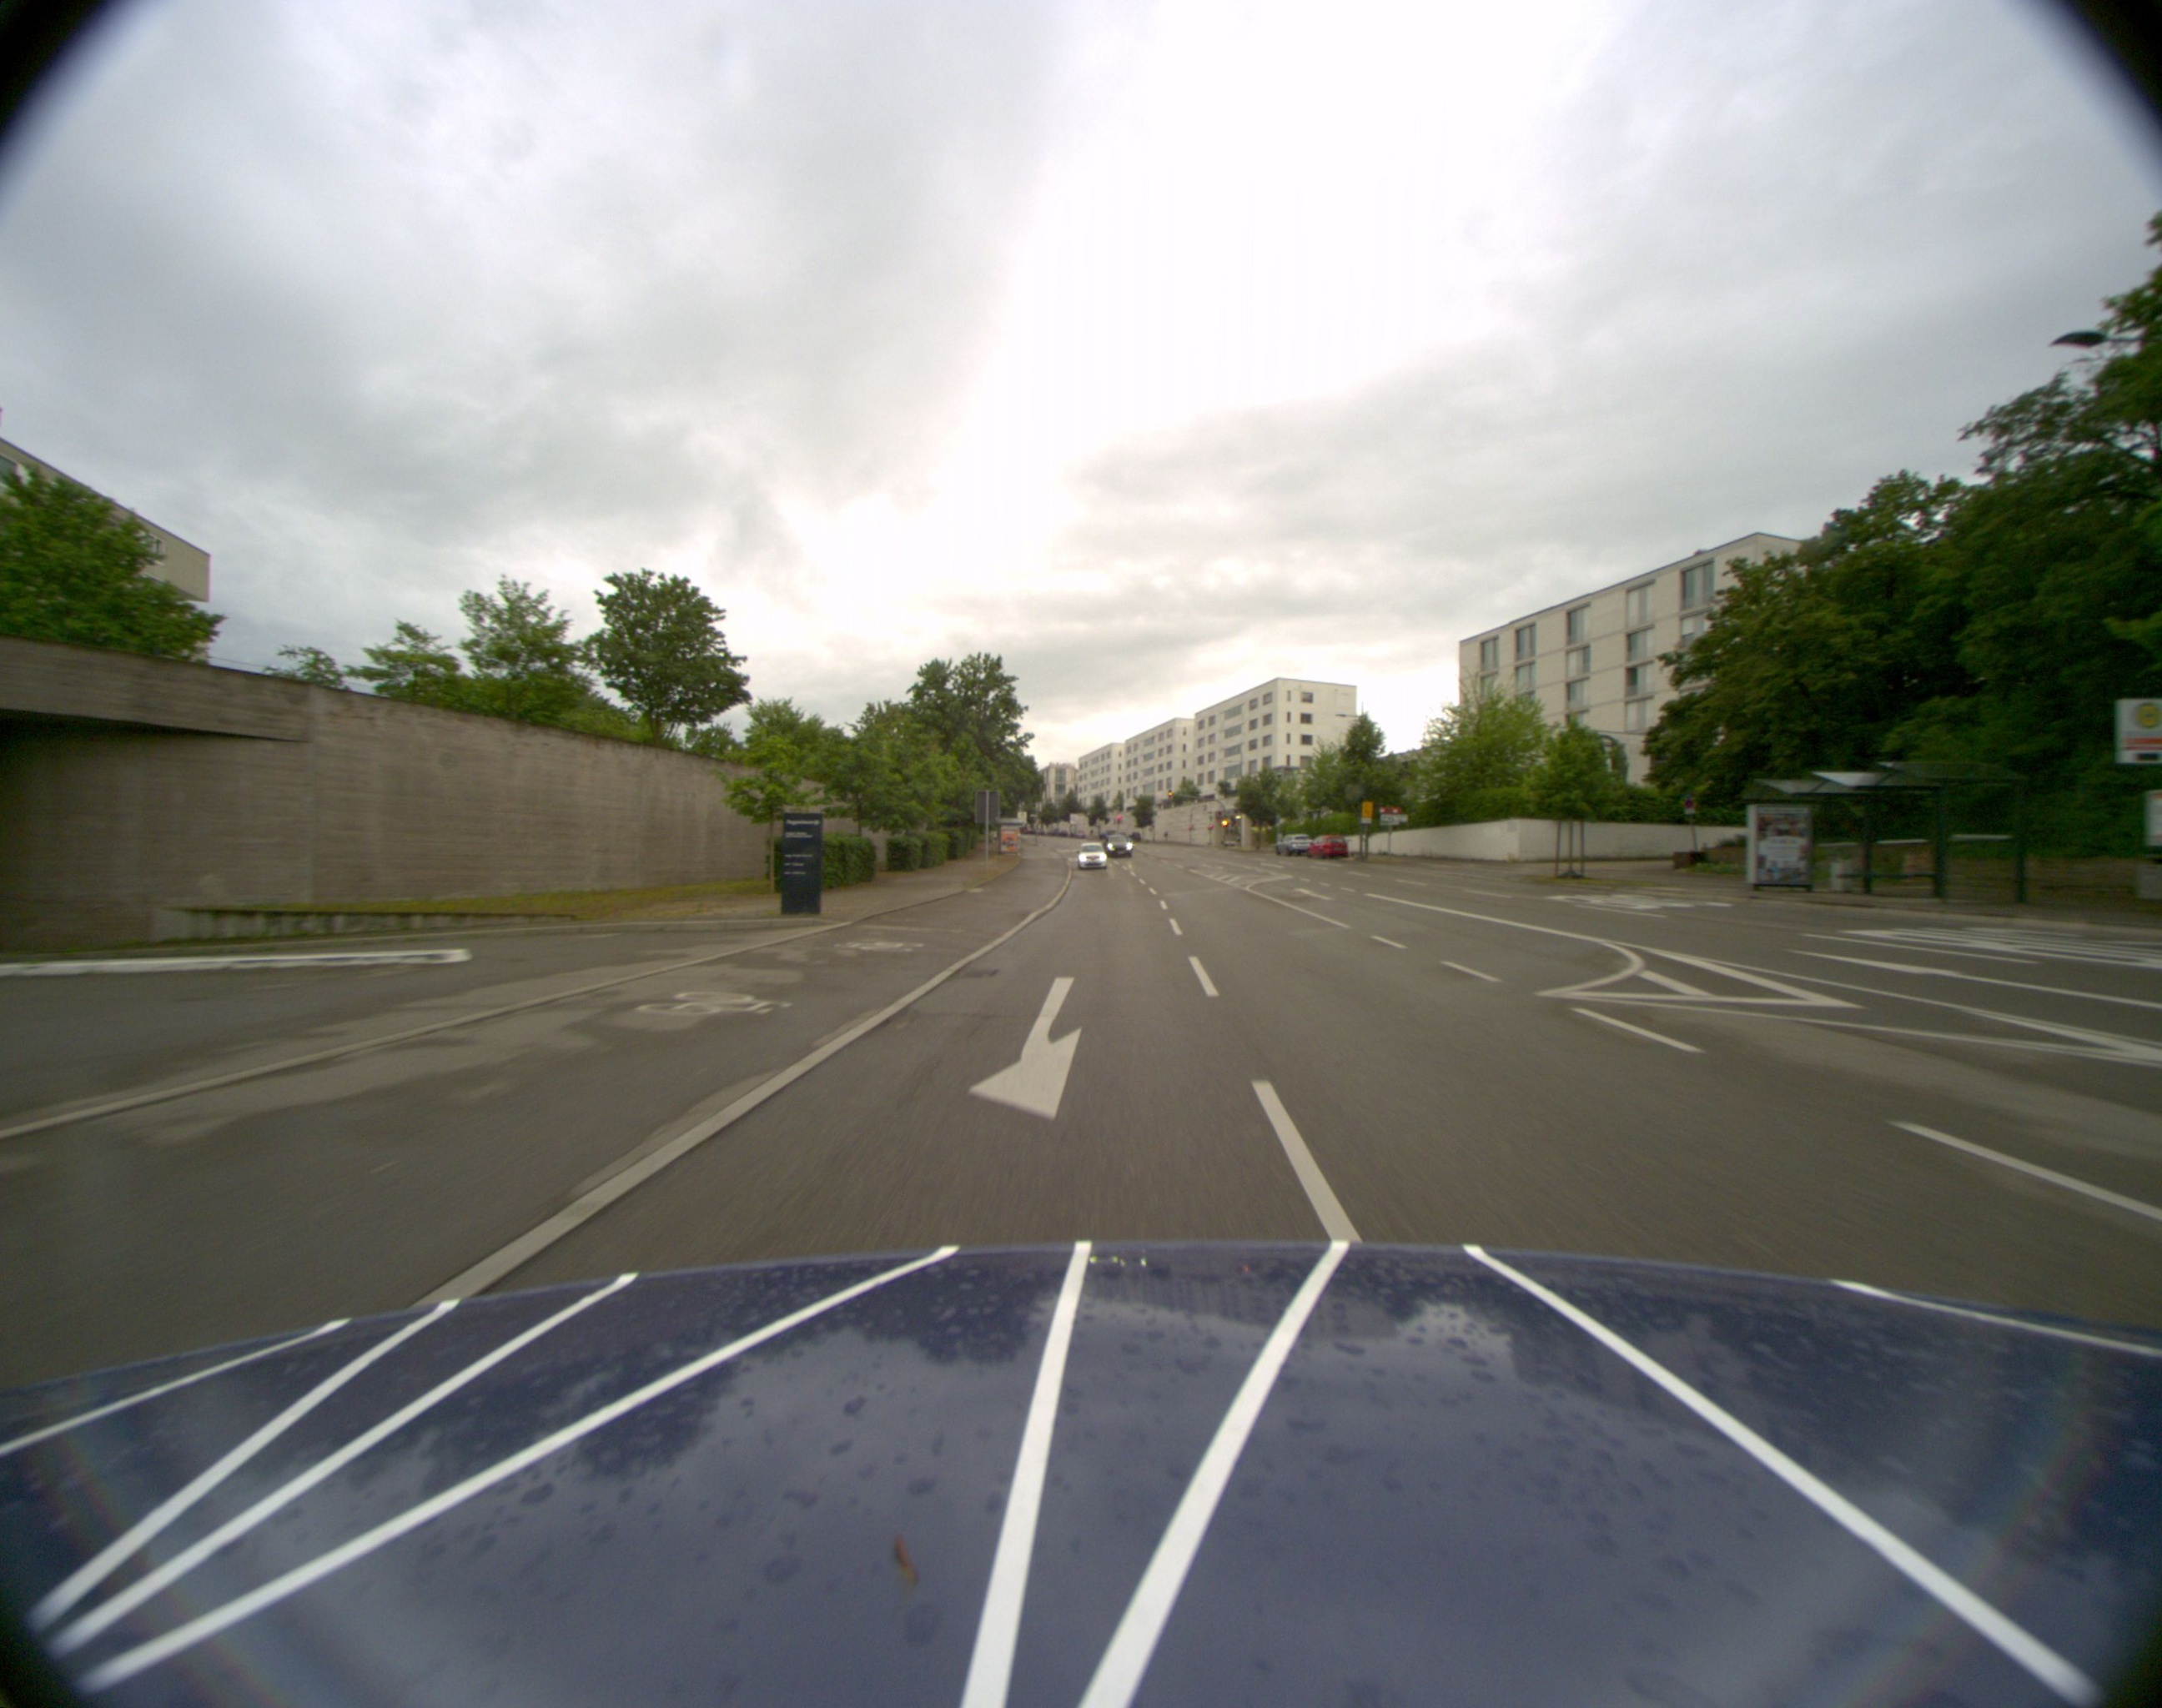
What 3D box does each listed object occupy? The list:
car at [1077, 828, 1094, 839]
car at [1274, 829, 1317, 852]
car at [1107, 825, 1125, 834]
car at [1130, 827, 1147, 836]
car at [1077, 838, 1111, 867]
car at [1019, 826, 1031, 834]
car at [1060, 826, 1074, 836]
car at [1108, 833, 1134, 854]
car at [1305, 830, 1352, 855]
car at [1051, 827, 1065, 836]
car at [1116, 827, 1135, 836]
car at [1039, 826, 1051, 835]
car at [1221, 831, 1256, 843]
[{"bbox_3d":[0.823,-3.926,143.097,1.926,2.002,4.379,-1,1,-16],"label":"car"},{"bbox_3d":[16.454,-1.102,58.533,1.768,1.644,4.881,-1,2,-1],"label":"car"},{"bbox_3d":[6.114,-4.301,132.833,1.792,1.623,3.992,0,2,-19],"label":"car"},{"bbox_3d":[9.277,-3.623,122.683,1.683,1.451,2.690,0,2,-19],"label":"car"},{"bbox_3d":[0.818,-0.077,46.139,1.927,1.652,4.001,0,0,2],"label":"car"},{"bbox_3d":[-13.766,-5.986,186.736,1.967,1.829,4.441,0,2,-15],"label":"car"},{"bbox_3d":[-3.069,-4.849,161.390,1.926,2.002,4.379,-1,1,-16],"label":"car"},{"bbox_3d":[3.156,-0.806,59.967,1.829,1.584,3.999,-1,1,1],"label":"car"},{"bbox_3d":[16.711,-0.812,51.486,1.669,1.578,4.214,0,2,-1],"label":"car"},{"bbox_3d":[-5.117,-4.941,167.958,1.926,2.002,4.379,-1,1,-16],"label":"car"},{"bbox_3d":[7.499,-3.858,128.568,1.865,1.470,3.992,0,2,-19],"label":"car"},{"bbox_3d":[-8.693,-5.612,181.074,1.926,2.002,4.379,-1,1,-16],"label":"car"},{"bbox_3d":[22.194,-2.409,106.972,4.350,1.643,1.996,0,3,-19],"label":"car"}]
